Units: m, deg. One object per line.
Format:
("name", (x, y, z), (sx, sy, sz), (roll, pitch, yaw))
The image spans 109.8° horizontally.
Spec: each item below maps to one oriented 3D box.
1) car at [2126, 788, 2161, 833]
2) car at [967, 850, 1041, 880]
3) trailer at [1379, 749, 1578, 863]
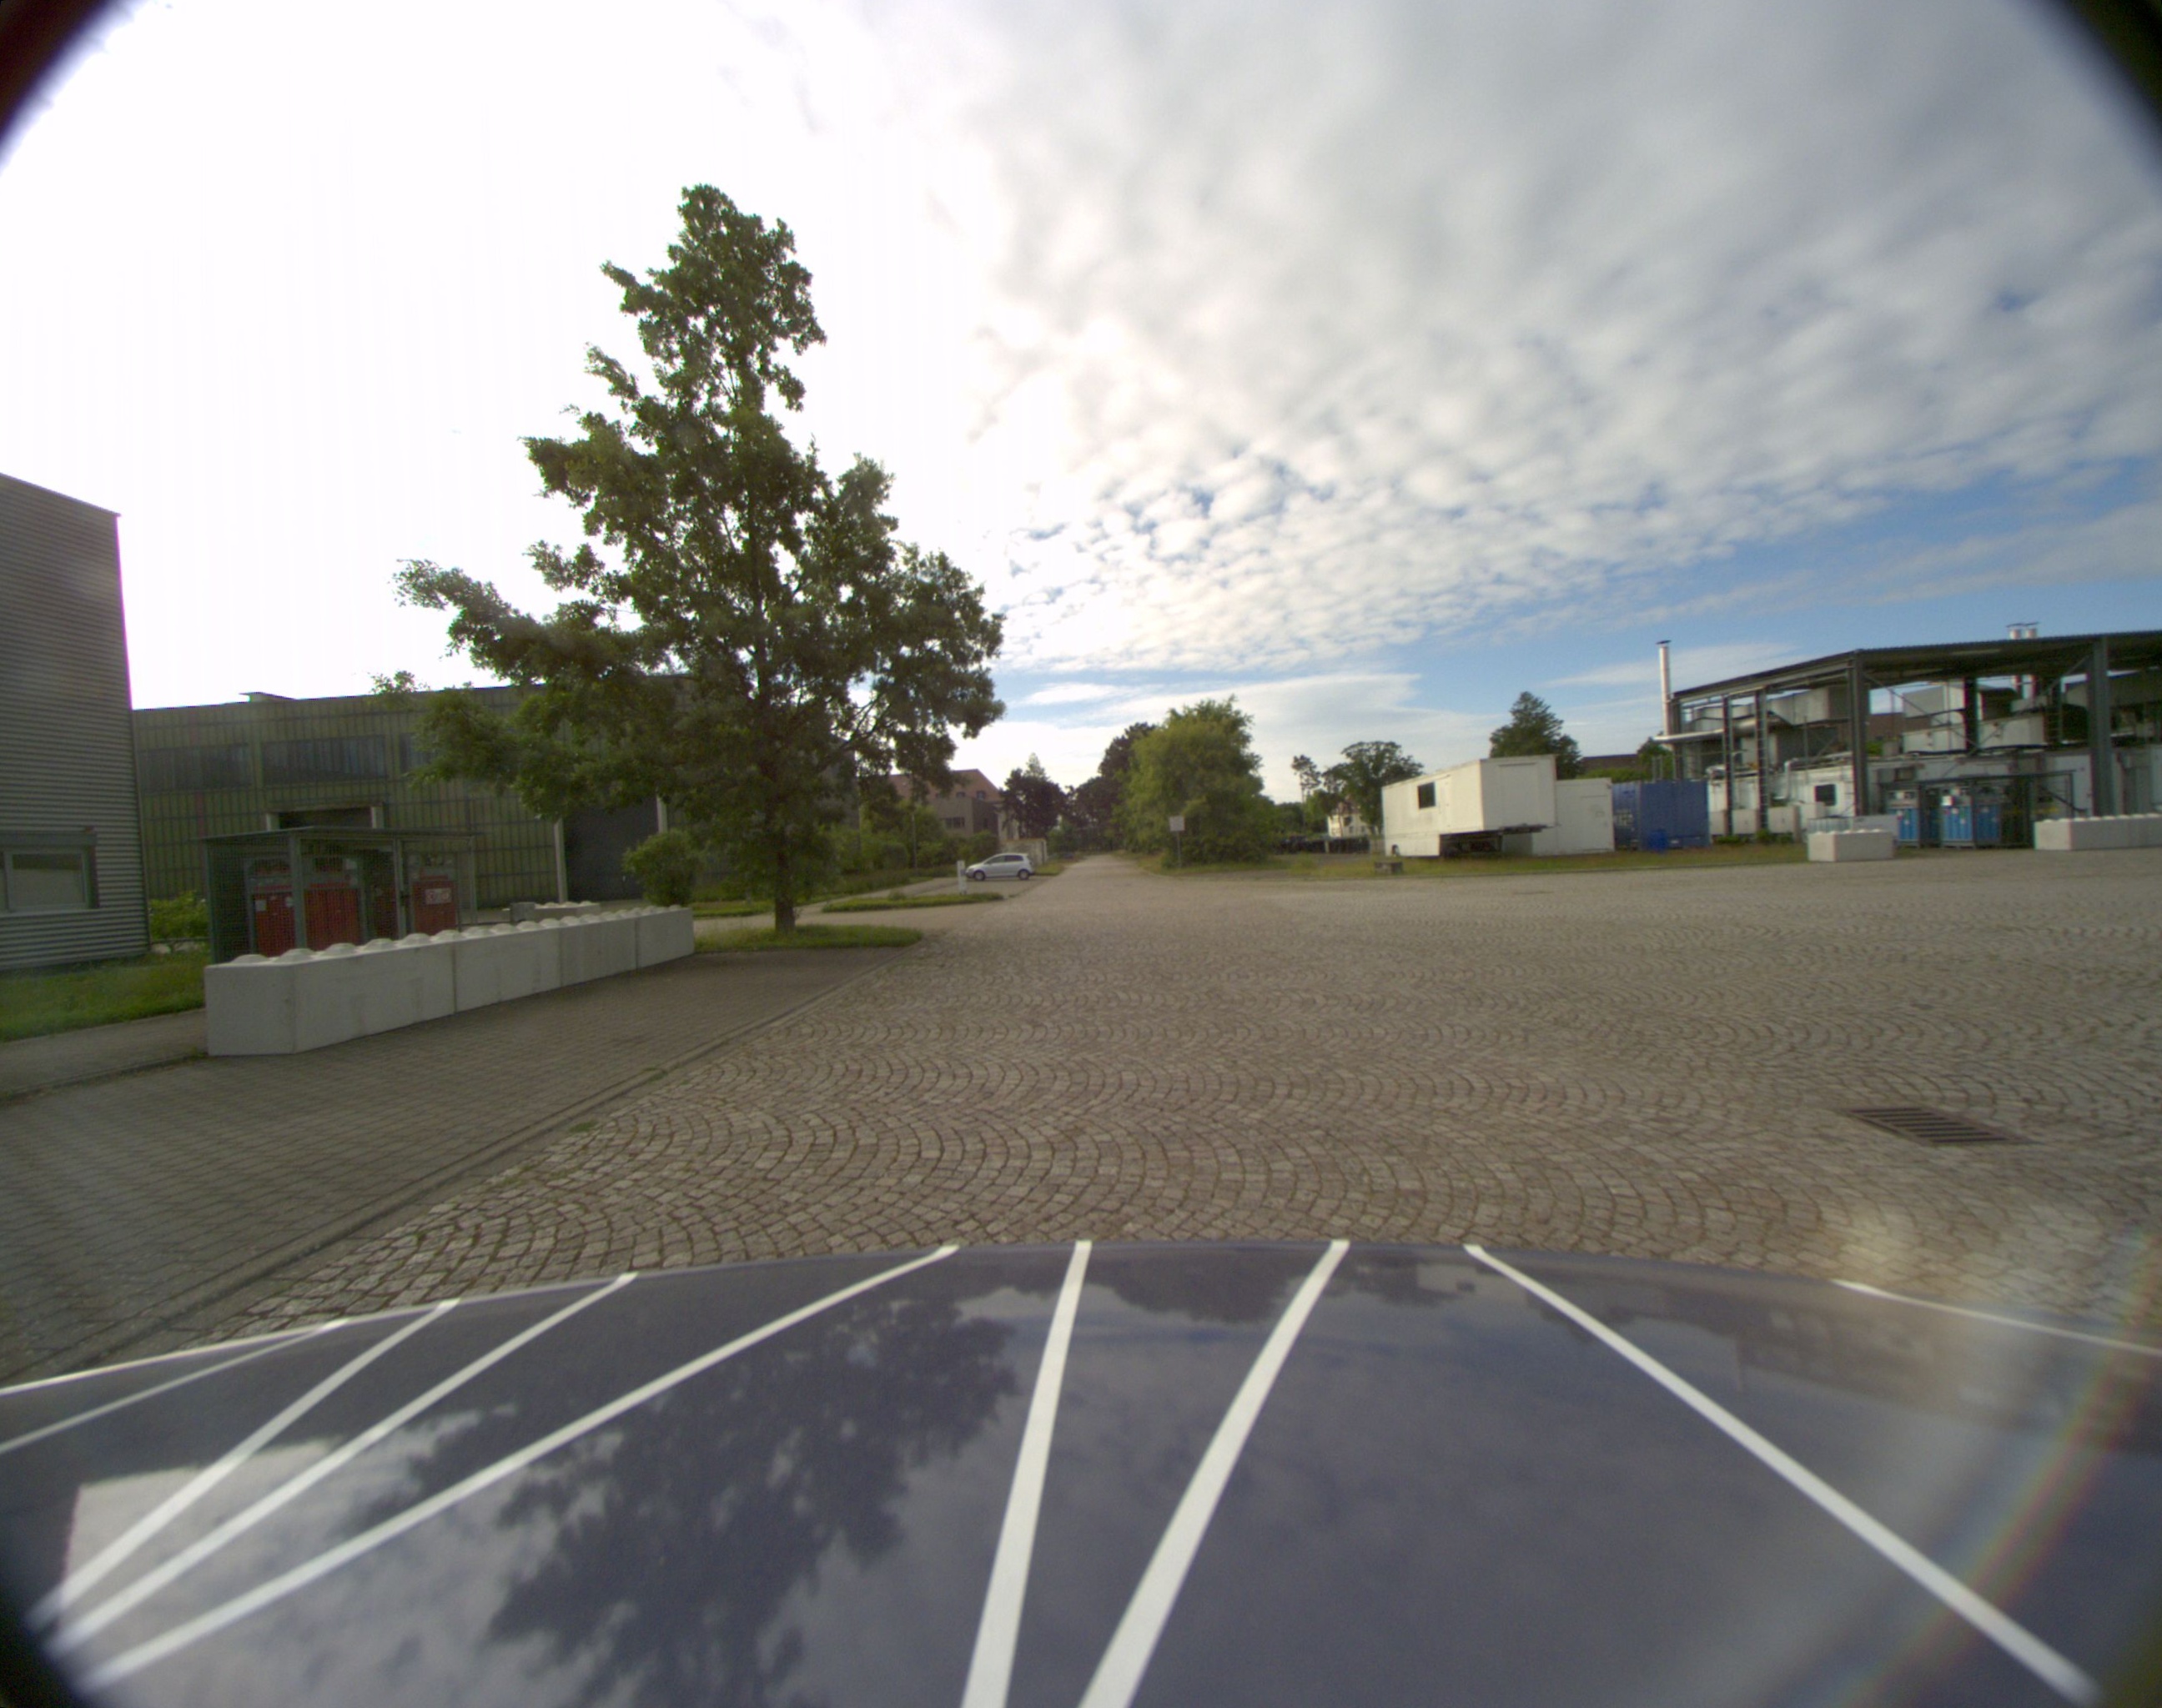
("car", (36.506, -1.432, 23.826), (1.933, 1.464, 3.999), (-2, 1, -1))
("car", (-4.520, 0.622, 45.071), (4.131, 1.615, 1.938), (-2, 1, -1))
("trailer", (15.353, -1.654, 30.702), (2.875, 3.641, 10.779), (-3, 1, 4))
